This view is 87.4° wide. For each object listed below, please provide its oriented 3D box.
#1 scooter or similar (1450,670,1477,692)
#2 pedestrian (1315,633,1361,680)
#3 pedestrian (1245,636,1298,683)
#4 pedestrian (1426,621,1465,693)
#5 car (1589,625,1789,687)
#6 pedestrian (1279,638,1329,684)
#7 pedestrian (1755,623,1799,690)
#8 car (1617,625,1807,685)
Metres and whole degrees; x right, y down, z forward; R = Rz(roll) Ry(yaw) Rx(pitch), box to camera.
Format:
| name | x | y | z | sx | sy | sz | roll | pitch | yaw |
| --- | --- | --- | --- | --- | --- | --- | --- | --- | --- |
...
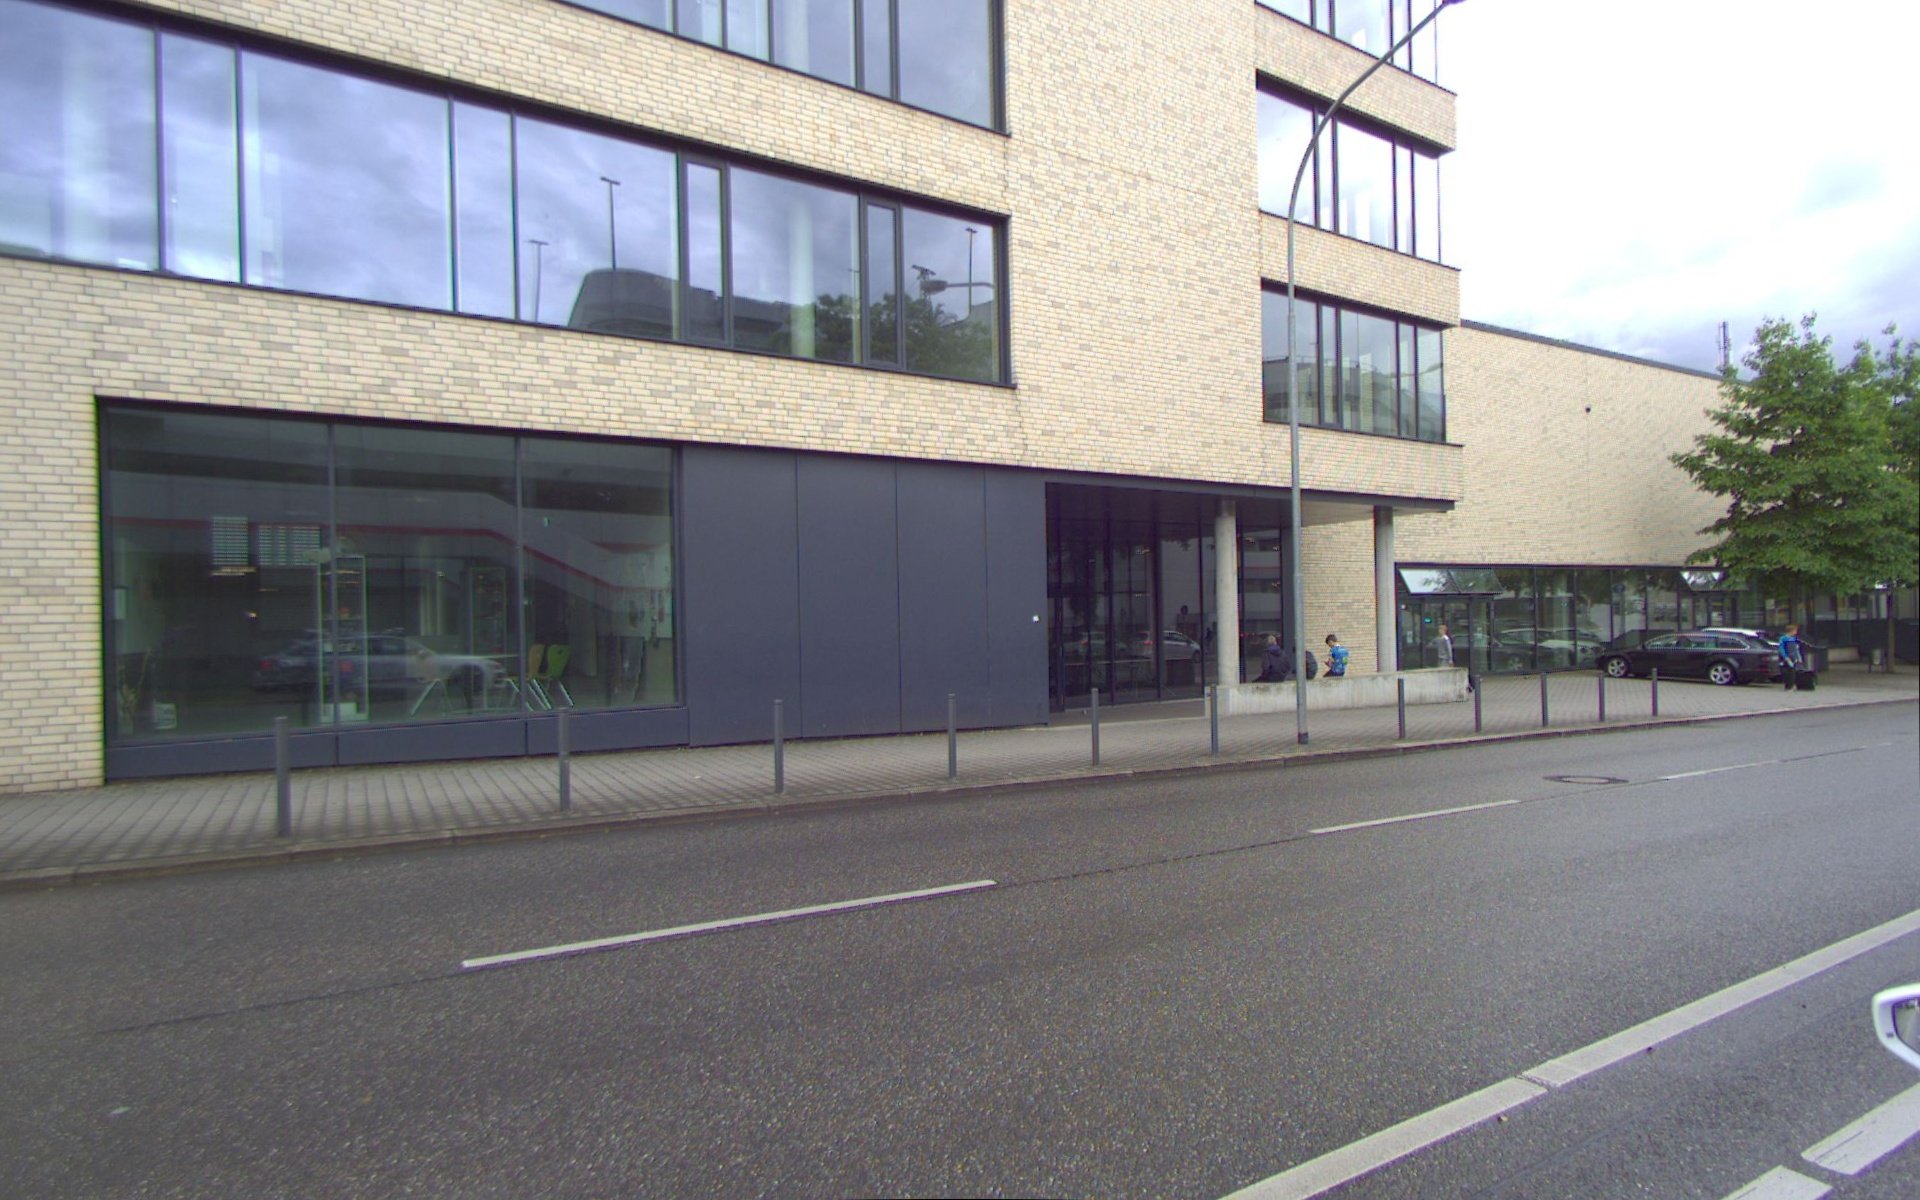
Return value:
| name | x | y | z | sx | sy | sz | roll | pitch | yaw |
| --- | --- | --- | --- | --- | --- | --- | --- | --- | --- |
| scooter or similar | 12.485 | 2.009 | 24.915 | 0.608 | 0.507 | 0.279 | 2 | 0 | -29 |
| pedestrian | 7.572 | 1.118 | 20.127 | 0.519 | 0.897 | 0.676 | 2 | 0 | -36 |
| pedestrian | 5.856 | 1.112 | 18.905 | 0.751 | 0.797 | 0.595 | -3 | 2 | -31 |
| pedestrian | 11.946 | 1.385 | 24.716 | 0.474 | 1.720 | 0.672 | 1 | 0 | -31 |
| car | 21.488 | 1.591 | 29.763 | 1.981 | 1.608 | 4.437 | 1 | -1 | -36 |
| pedestrian | 6.678 | 1.173 | 19.519 | 0.719 | 0.856 | 0.583 | 2 | -1 | -30 |
| pedestrian | 21.846 | 1.499 | 26.848 | 0.745 | 1.748 | 0.685 | 0 | 1 | -31 |
| car | 23.445 | 1.653 | 31.473 | 1.980 | 1.595 | 4.388 | -1 | 1 | -35 |
